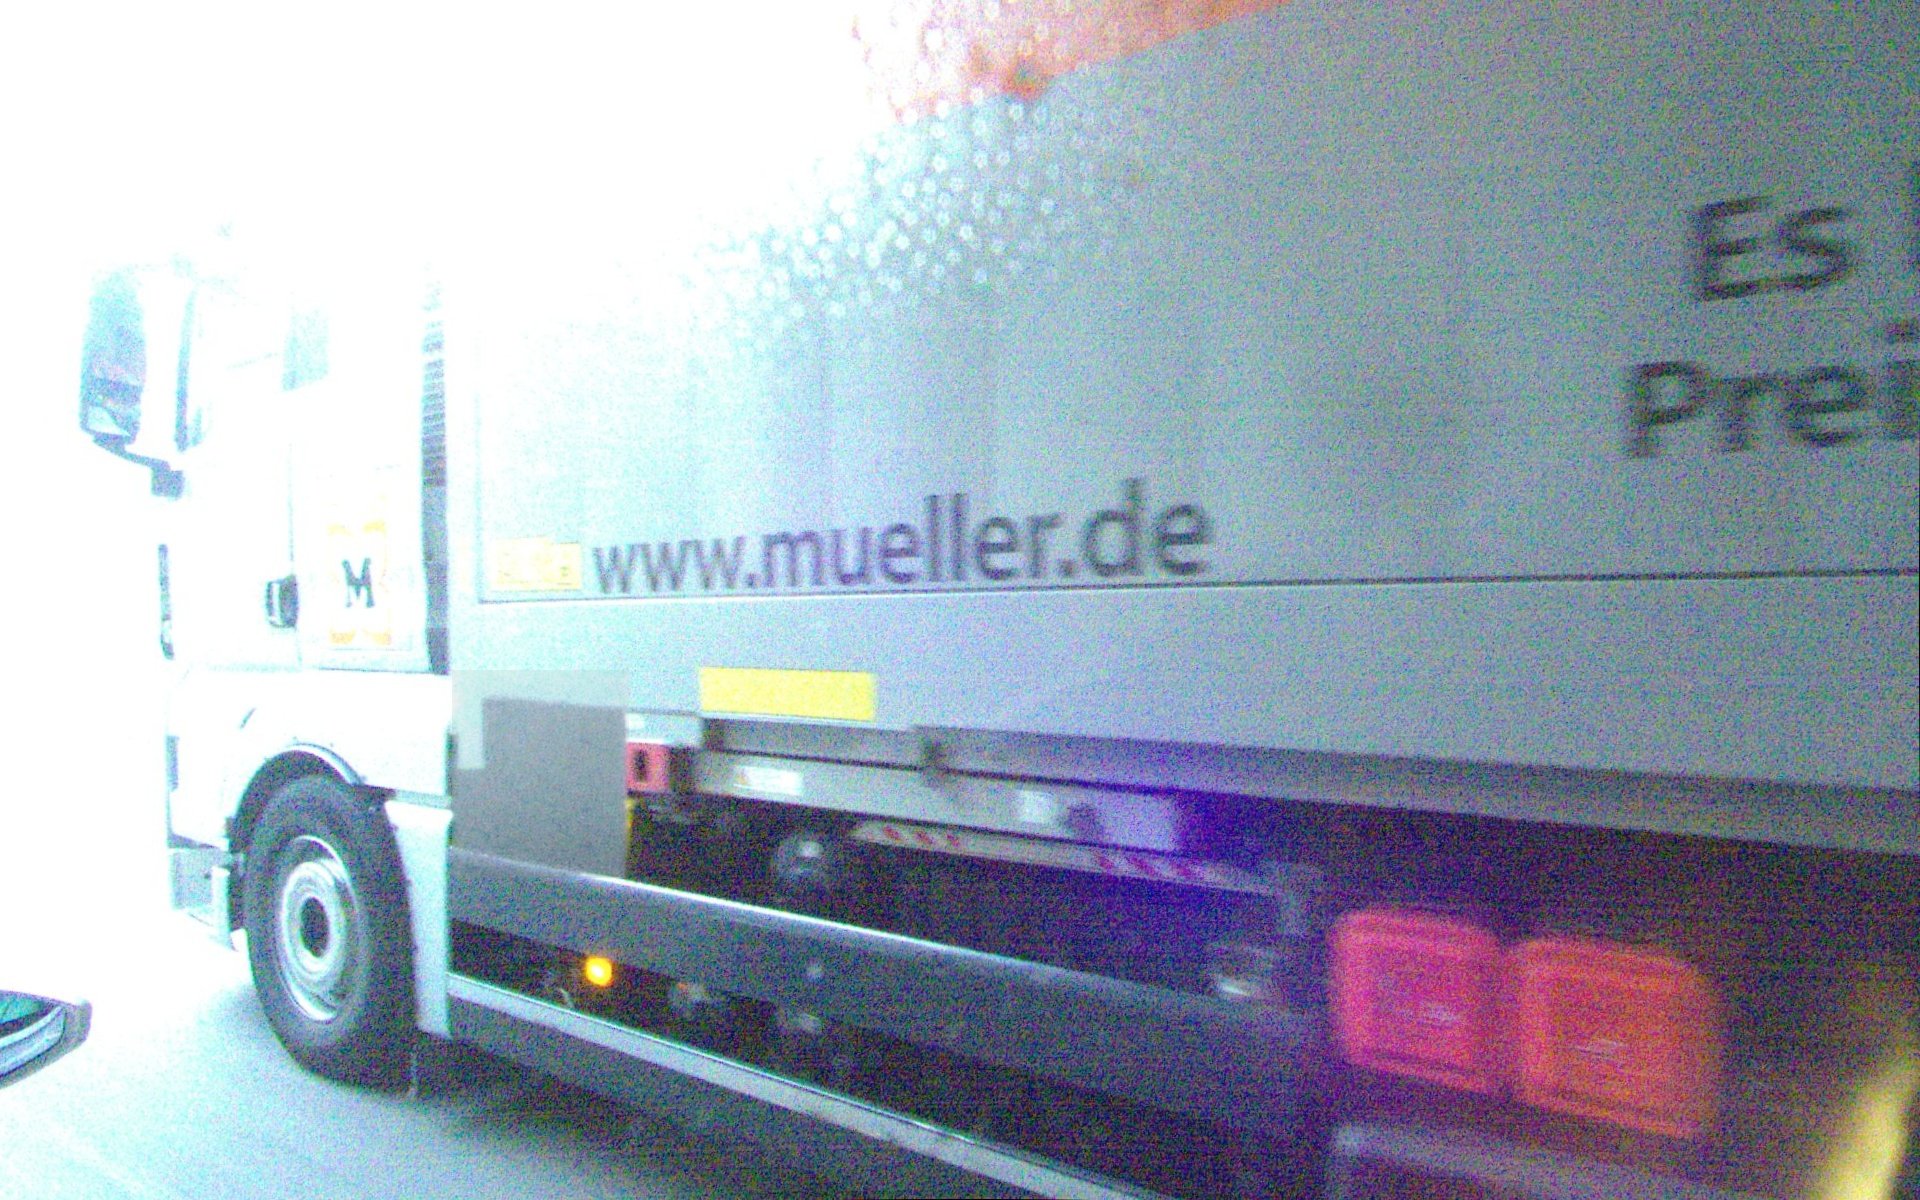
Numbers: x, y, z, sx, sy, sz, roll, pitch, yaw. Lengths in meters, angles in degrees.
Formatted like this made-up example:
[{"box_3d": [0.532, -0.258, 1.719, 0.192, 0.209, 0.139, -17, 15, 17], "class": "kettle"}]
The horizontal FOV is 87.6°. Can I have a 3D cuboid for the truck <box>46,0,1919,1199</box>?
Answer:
[{"box_3d": [1.409, -0.546, 2.525, 9.764, 3.964, 2.885, 0, -1, 32], "class": "truck"}]
